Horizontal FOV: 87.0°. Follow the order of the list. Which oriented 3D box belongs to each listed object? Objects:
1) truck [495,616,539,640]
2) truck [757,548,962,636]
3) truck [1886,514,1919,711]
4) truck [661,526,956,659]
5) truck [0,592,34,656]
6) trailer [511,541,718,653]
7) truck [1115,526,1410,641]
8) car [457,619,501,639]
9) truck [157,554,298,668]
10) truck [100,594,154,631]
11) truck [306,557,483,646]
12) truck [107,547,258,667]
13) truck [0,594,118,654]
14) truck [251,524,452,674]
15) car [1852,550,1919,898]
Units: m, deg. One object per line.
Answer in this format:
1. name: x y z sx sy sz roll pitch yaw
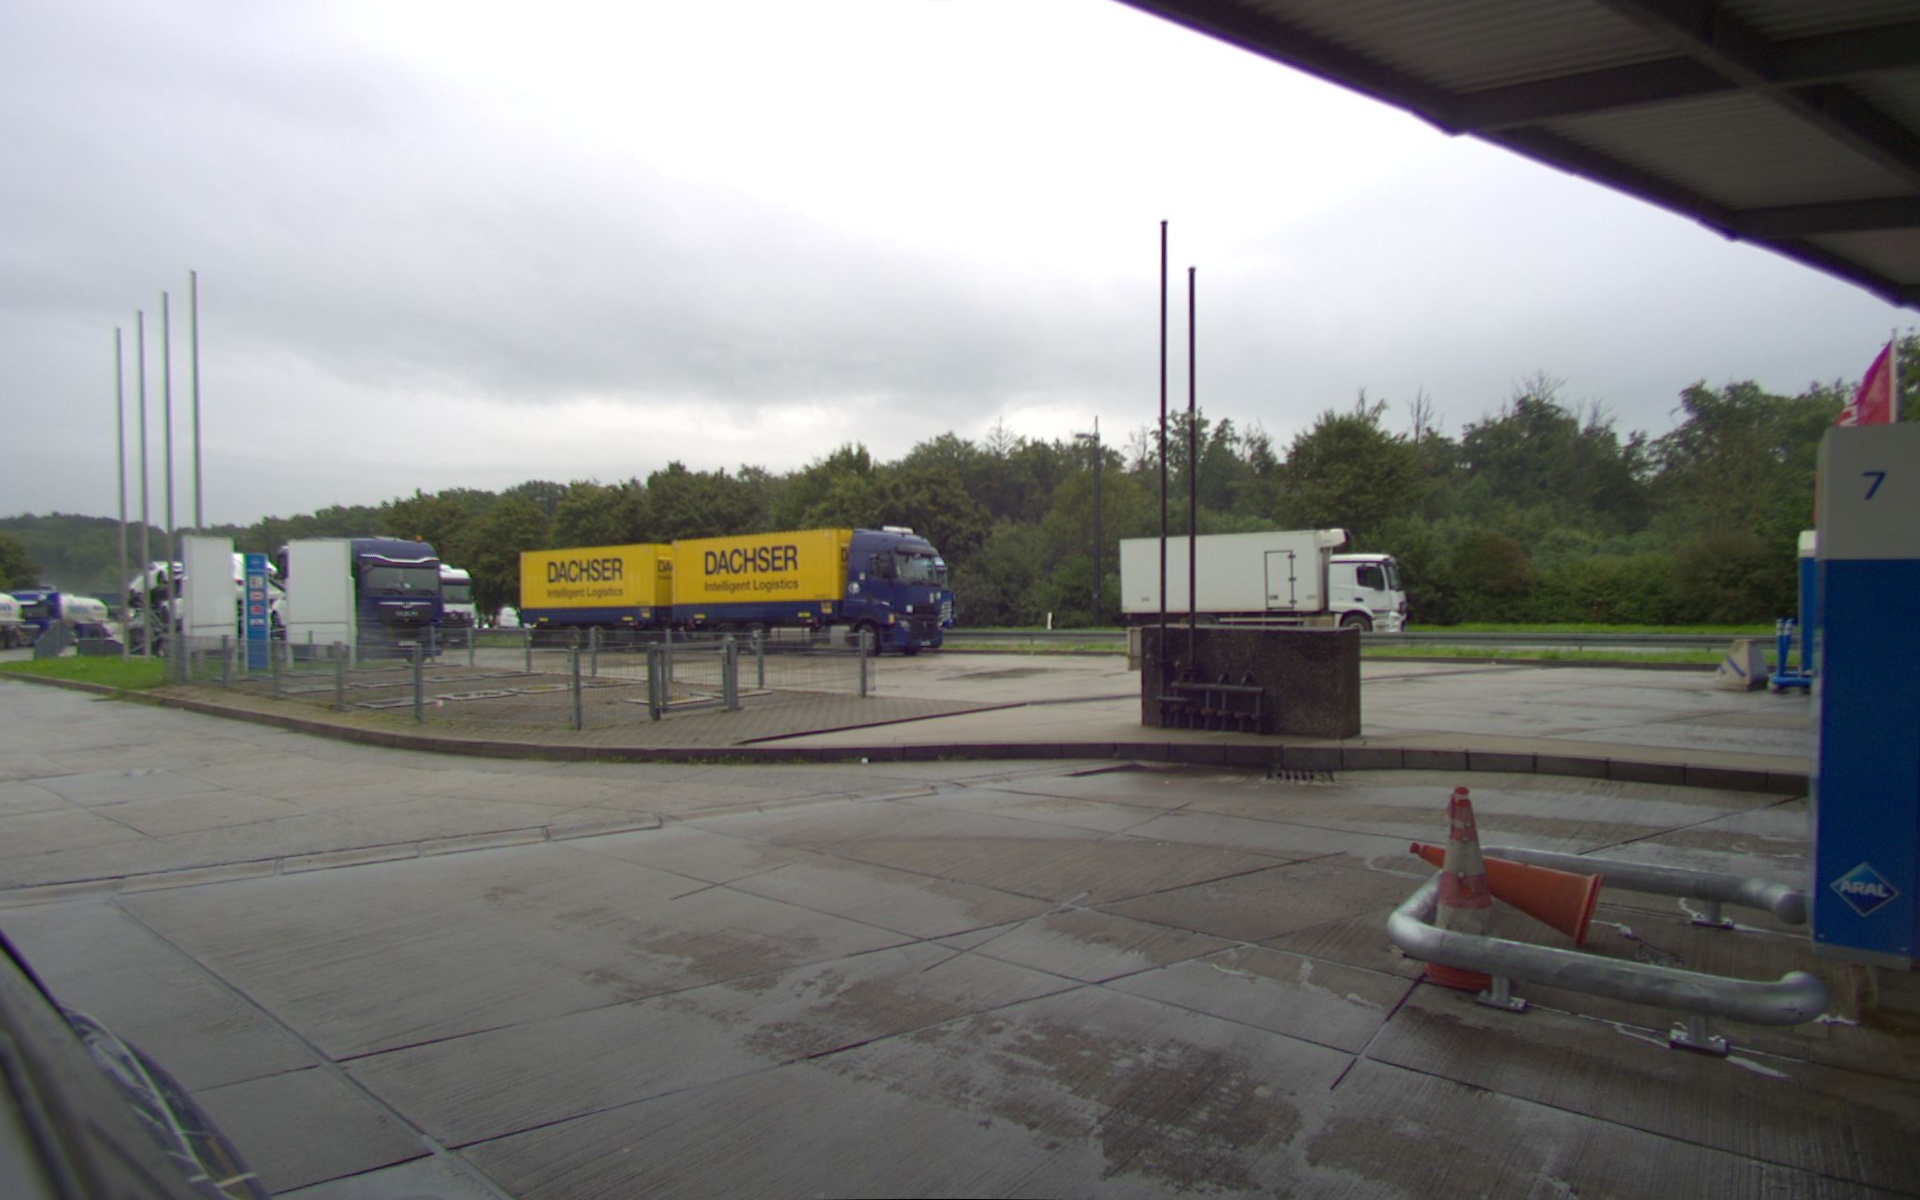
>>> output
1. truck: -44.228 2.780 101.012 4.620 2.282 1.712 -1 0 30
2. truck: -4.894 -0.310 47.646 10.195 3.836 2.395 -1 0 31
3. truck: 14.979 0.129 11.957 5.859 2.513 2.208 -1 0 41
4. truck: -5.352 -0.175 34.031 10.654 3.946 2.727 -1 0 33
5. truck: -55.171 1.338 53.689 3.454 3.633 14.444 -1 -1 -19
6. trailer: -13.514 -0.070 39.260 8.679 3.946 2.728 -1 0 32
7. truck: 10.955 -0.512 37.451 10.195 3.836 2.395 -1 0 31
8. car: -46.810 2.814 98.405 4.355 1.904 1.712 -1 0 30
9. truck: -26.122 0.397 36.075 4.738 3.800 2.635 -1 0 34
10. truck: -118.980 1.763 144.472 11.498 5.160 3.109 -1 0 36
11. truck: -27.334 0.106 48.630 10.654 3.946 2.727 -1 0 33
12. truck: -29.604 0.300 38.448 6.605 4.213 2.635 -1 0 35
13. truck: -61.510 1.621 68.656 3.454 3.633 14.709 -1 -1 -27
14. truck: -19.024 0.013 31.479 7.089 4.213 2.635 -1 0 35
15. car: 6.896 0.546 3.802 5.269 1.620 1.842 -1 0 41
